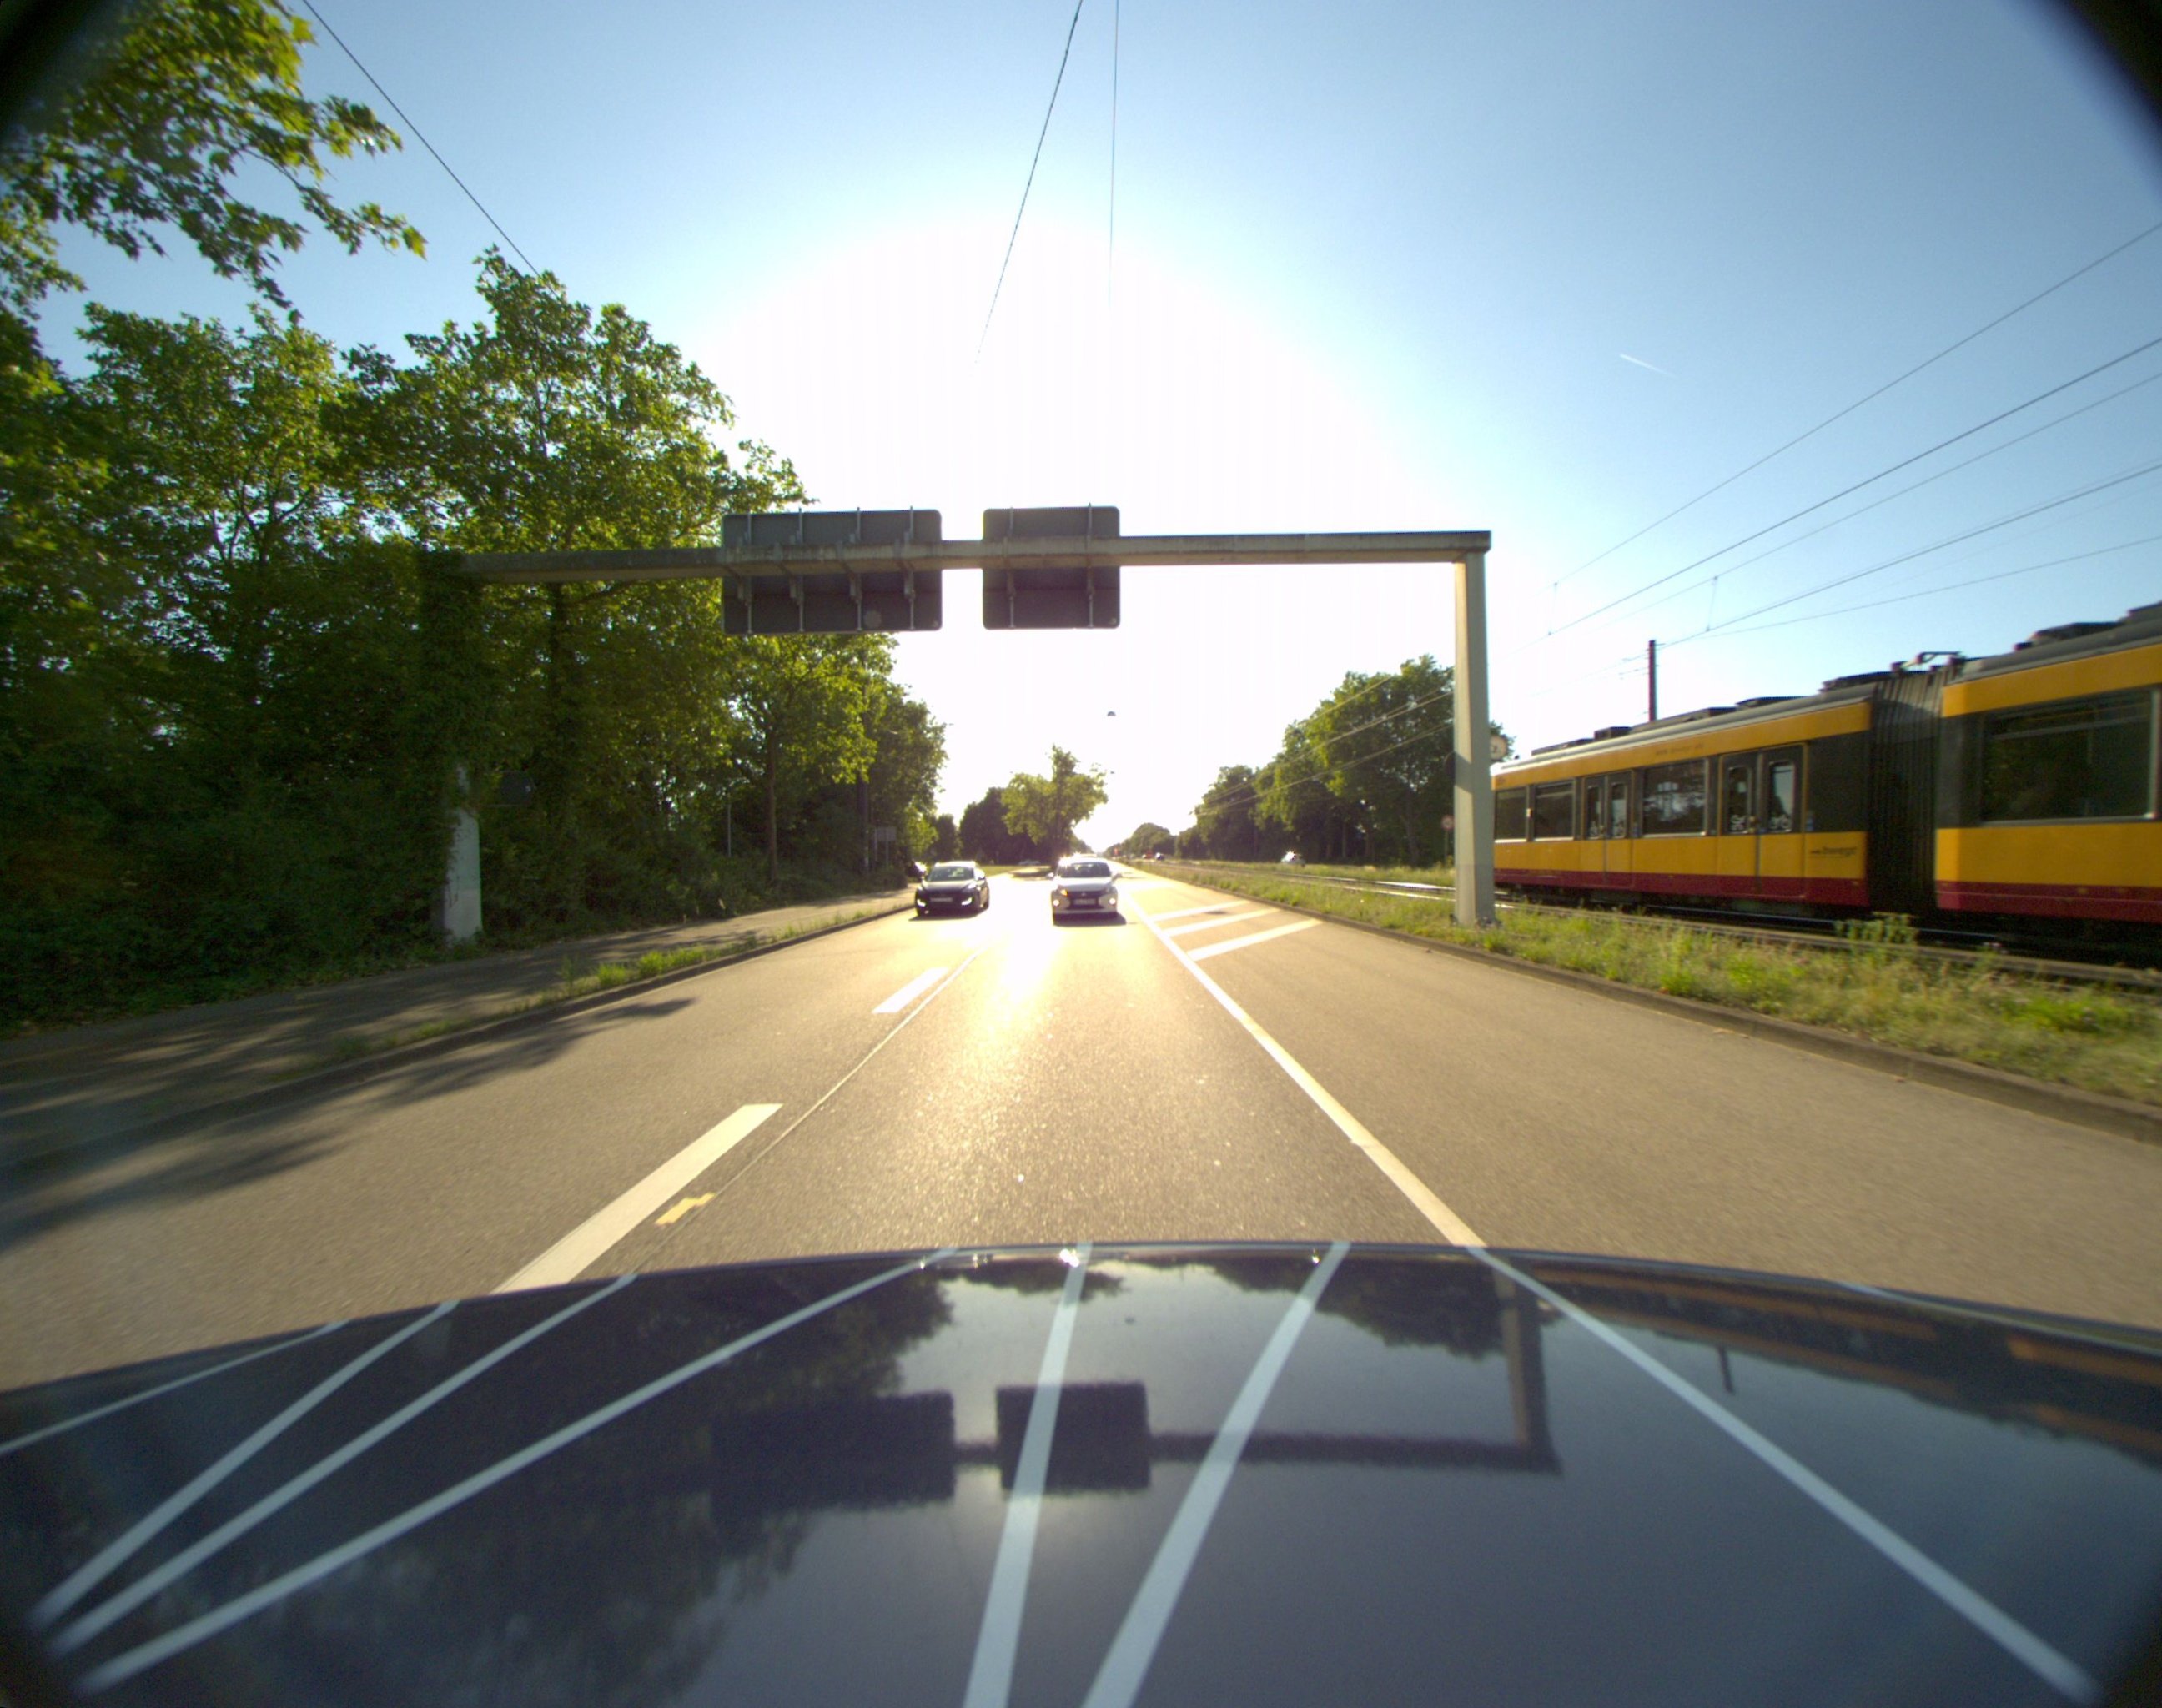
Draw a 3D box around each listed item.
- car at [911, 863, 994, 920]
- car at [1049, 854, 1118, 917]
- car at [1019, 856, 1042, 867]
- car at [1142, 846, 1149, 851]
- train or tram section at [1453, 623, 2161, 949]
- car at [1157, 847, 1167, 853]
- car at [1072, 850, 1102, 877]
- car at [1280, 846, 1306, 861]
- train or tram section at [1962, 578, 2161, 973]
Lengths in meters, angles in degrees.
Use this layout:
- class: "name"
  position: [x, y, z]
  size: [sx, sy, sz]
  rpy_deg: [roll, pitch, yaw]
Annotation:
- class: "car"
  position: [-3.813, 1.052, 23.169]
  size: [1.797, 1.432, 4.223]
  rpy_deg: [-2, 1, -1]
- class: "car"
  position: [0.113, 0.809, 21.318]
  size: [1.709, 1.503, 3.862]
  rpy_deg: [-2, 1, 1]
- class: "car"
  position: [-9.472, 1.406, 142.523]
  size: [3.651, 1.790, 1.883]
  rpy_deg: [-2, 1, -32]
- class: "car"
  position: [19.819, -1.580, 233.408]
  size: [1.715, 1.459, 4.348]
  rpy_deg: [1, -1, -1]
- class: "train or tram section"
  position: [12.024, -0.880, 15.407]
  size: [2.811, 3.880, 12.330]
  rpy_deg: [-2, 1, 0]
- class: "car"
  position: [20.415, -1.037, 192.358]
  size: [1.903, 1.684, 4.940]
  rpy_deg: [1, 0, -1]
- class: "car"
  position: [0.397, 0.550, 46.050]
  size: [1.709, 1.512, 3.844]
  rpy_deg: [-2, 1, 1]
- class: "car"
  position: [23.258, -0.072, 83.429]
  size: [1.657, 1.517, 4.271]
  rpy_deg: [0, 2, 0]
- class: "train or tram section"
  position: [12.043, -0.775, 3.153]
  size: [2.811, 3.880, 11.989]
  rpy_deg: [-2, 1, 0]
